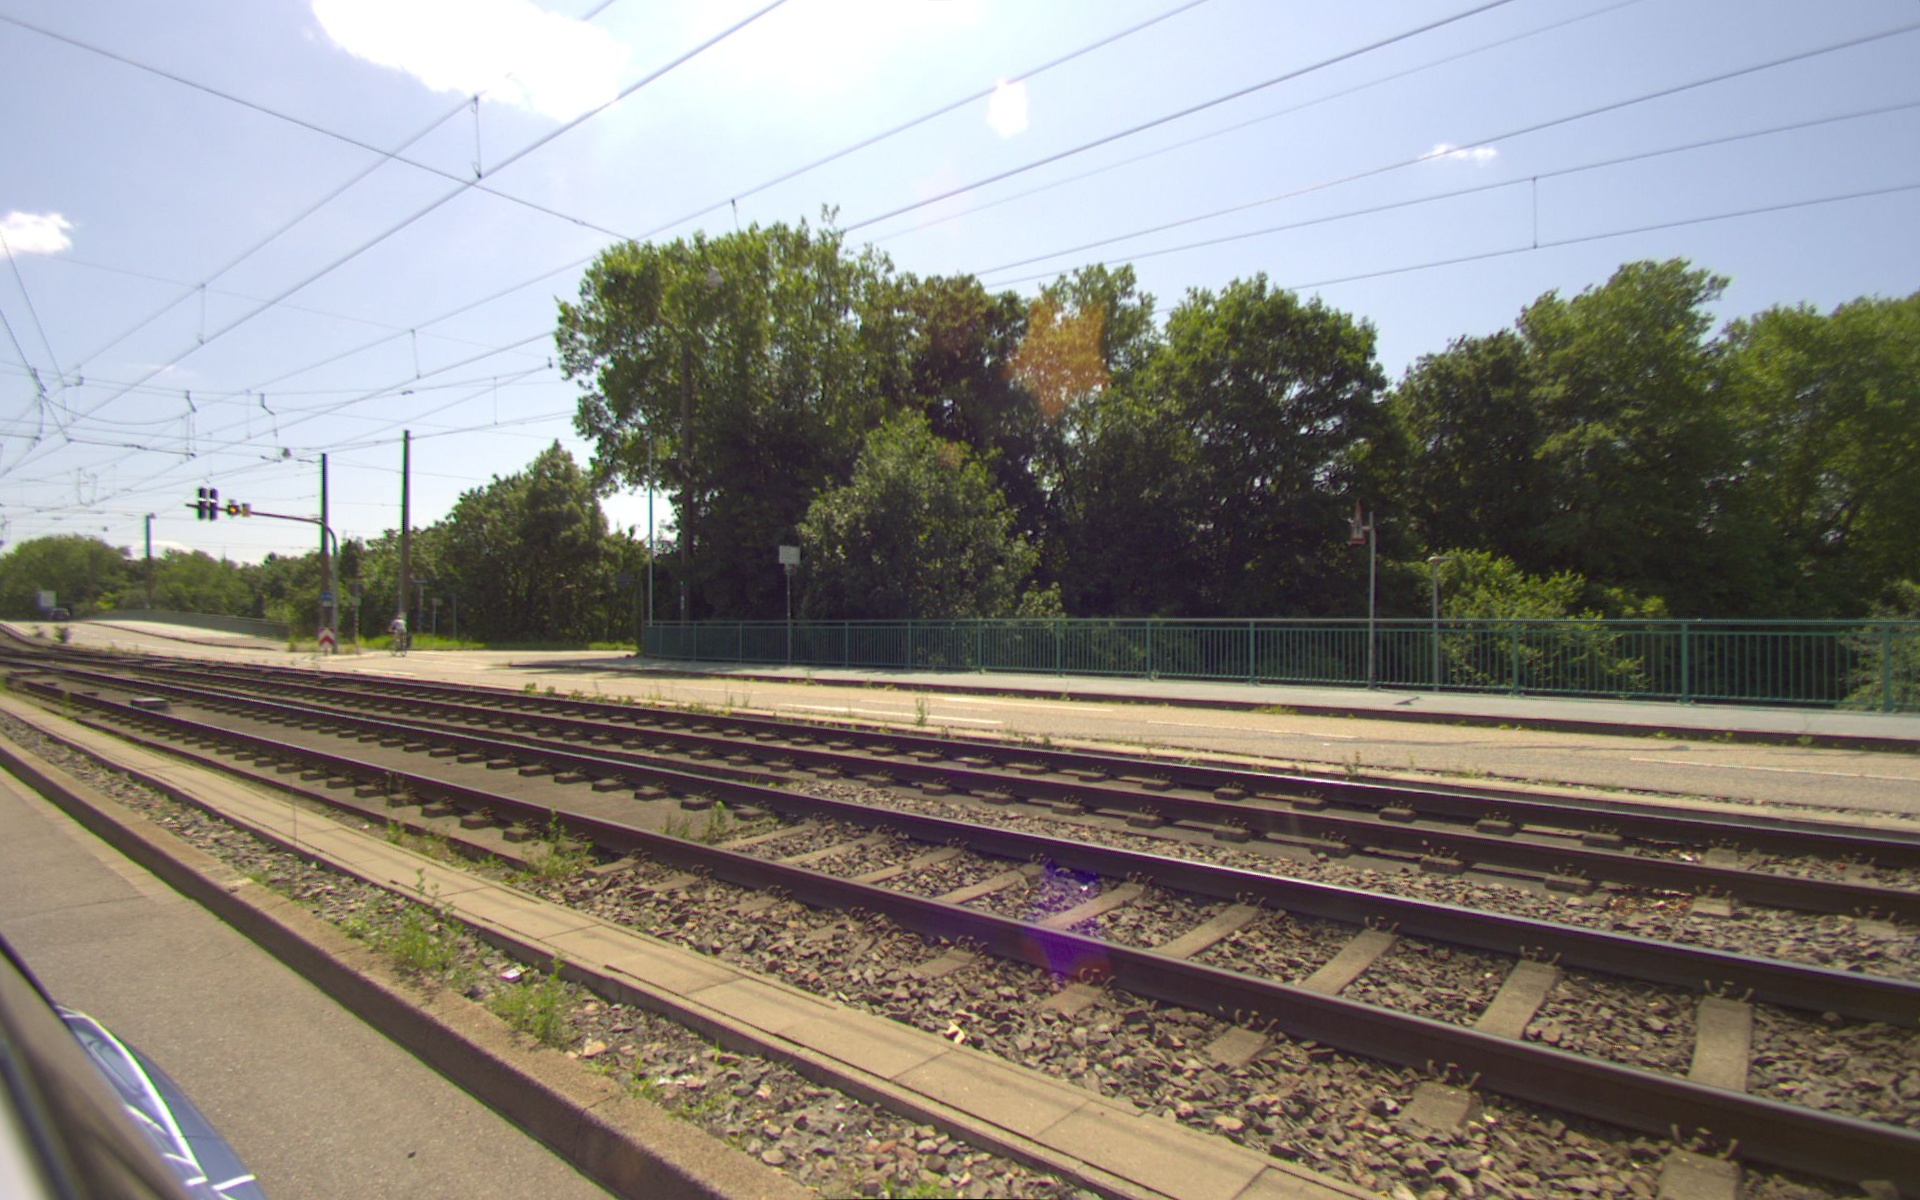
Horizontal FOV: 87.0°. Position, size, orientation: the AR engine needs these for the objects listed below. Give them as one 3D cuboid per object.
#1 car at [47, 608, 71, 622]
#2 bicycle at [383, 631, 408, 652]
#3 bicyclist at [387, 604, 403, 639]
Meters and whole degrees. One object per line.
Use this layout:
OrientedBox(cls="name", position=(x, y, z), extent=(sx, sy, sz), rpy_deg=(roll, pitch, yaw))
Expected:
OrientedBox(cls="car", position=(-99.961, 1.632, 112.264), extent=(1.685, 1.521, 3.735), rpy_deg=(2, -2, -45))
OrientedBox(cls="bicycle", position=(-24.278, 1.764, 43.512), extent=(1.743, 0.875, 0.463), rpy_deg=(-1, -1, 43))
OrientedBox(cls="bicyclist", position=(-24.313, 0.909, 43.554), extent=(0.633, 1.485, 0.451), rpy_deg=(-1, -1, 43))
